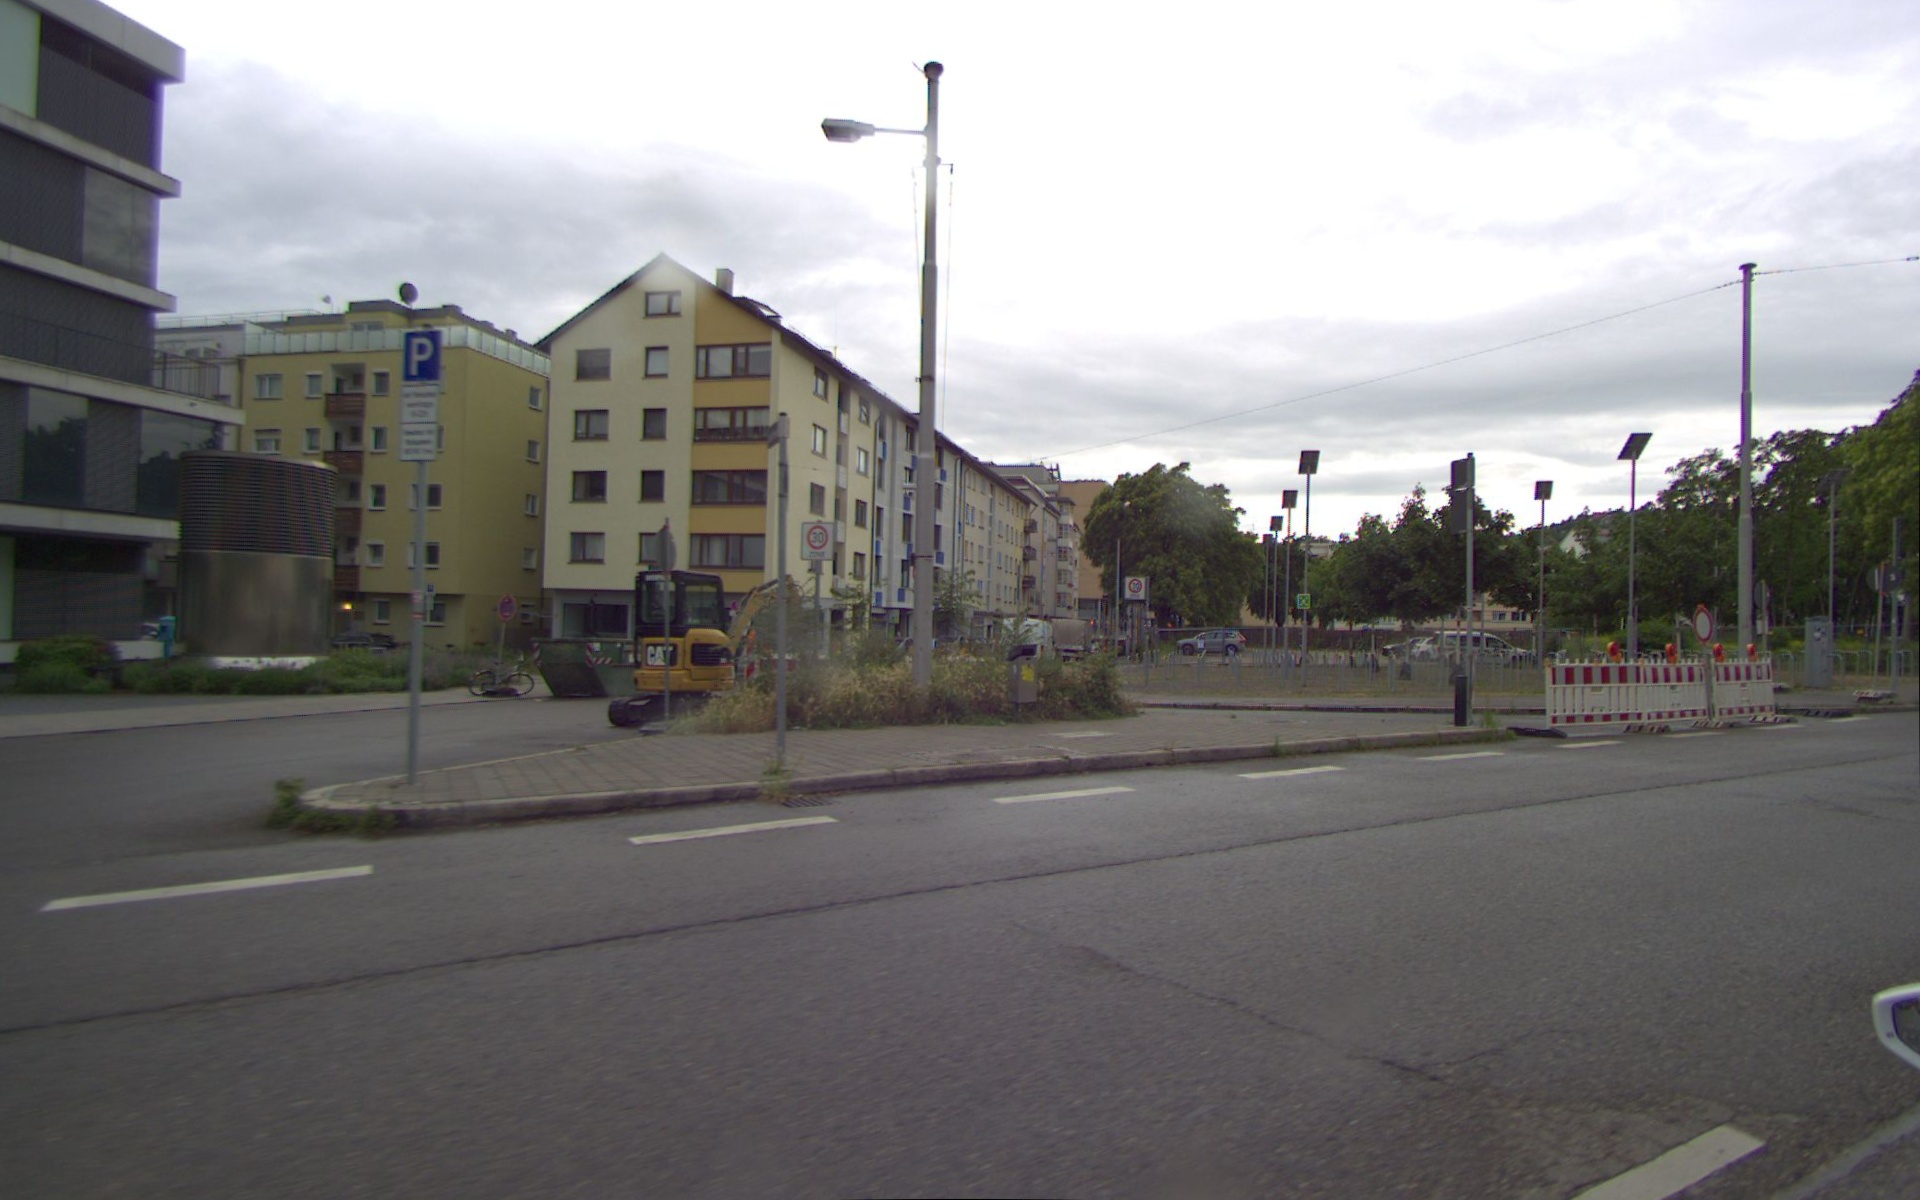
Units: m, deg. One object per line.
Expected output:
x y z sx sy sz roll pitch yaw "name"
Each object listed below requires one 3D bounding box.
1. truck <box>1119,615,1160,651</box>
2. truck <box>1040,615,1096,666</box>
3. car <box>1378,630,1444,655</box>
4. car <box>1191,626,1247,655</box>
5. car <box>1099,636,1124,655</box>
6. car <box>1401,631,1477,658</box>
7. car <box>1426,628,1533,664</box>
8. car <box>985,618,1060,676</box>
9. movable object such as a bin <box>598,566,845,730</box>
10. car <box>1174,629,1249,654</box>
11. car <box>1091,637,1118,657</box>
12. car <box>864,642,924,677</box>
27.893 5.155 155.462 5.497 5.211 15.716 -2 -2 12 "truck"
6.685 2.481 61.661 2.724 2.970 5.294 -2 -2 13 "truck"
31.289 2.946 69.782 3.919 1.647 1.801 0 -1 12 "car"
19.172 2.973 74.366 3.919 2.079 1.802 0 -3 15 "car"
12.661 3.763 84.021 1.764 1.530 4.003 -2 -2 12 "car"
29.604 2.742 62.198 3.919 1.647 1.801 0 -1 12 "car"
27.065 2.370 52.493 4.597 1.858 2.001 0 -1 12 "car"
2.939 2.124 45.854 2.620 2.445 5.738 -2 -2 11 "car"
-4.015 0.776 18.045 1.639 2.492 5.288 0 -1 21 "movable object such as a bin"
16.946 2.789 67.698 4.806 1.646 2.127 0 -3 15 "car"
11.451 3.690 79.517 1.764 1.530 4.003 -2 -2 12 "car"
-3.056 2.768 47.356 1.764 1.530 4.003 -2 -2 12 "car"
